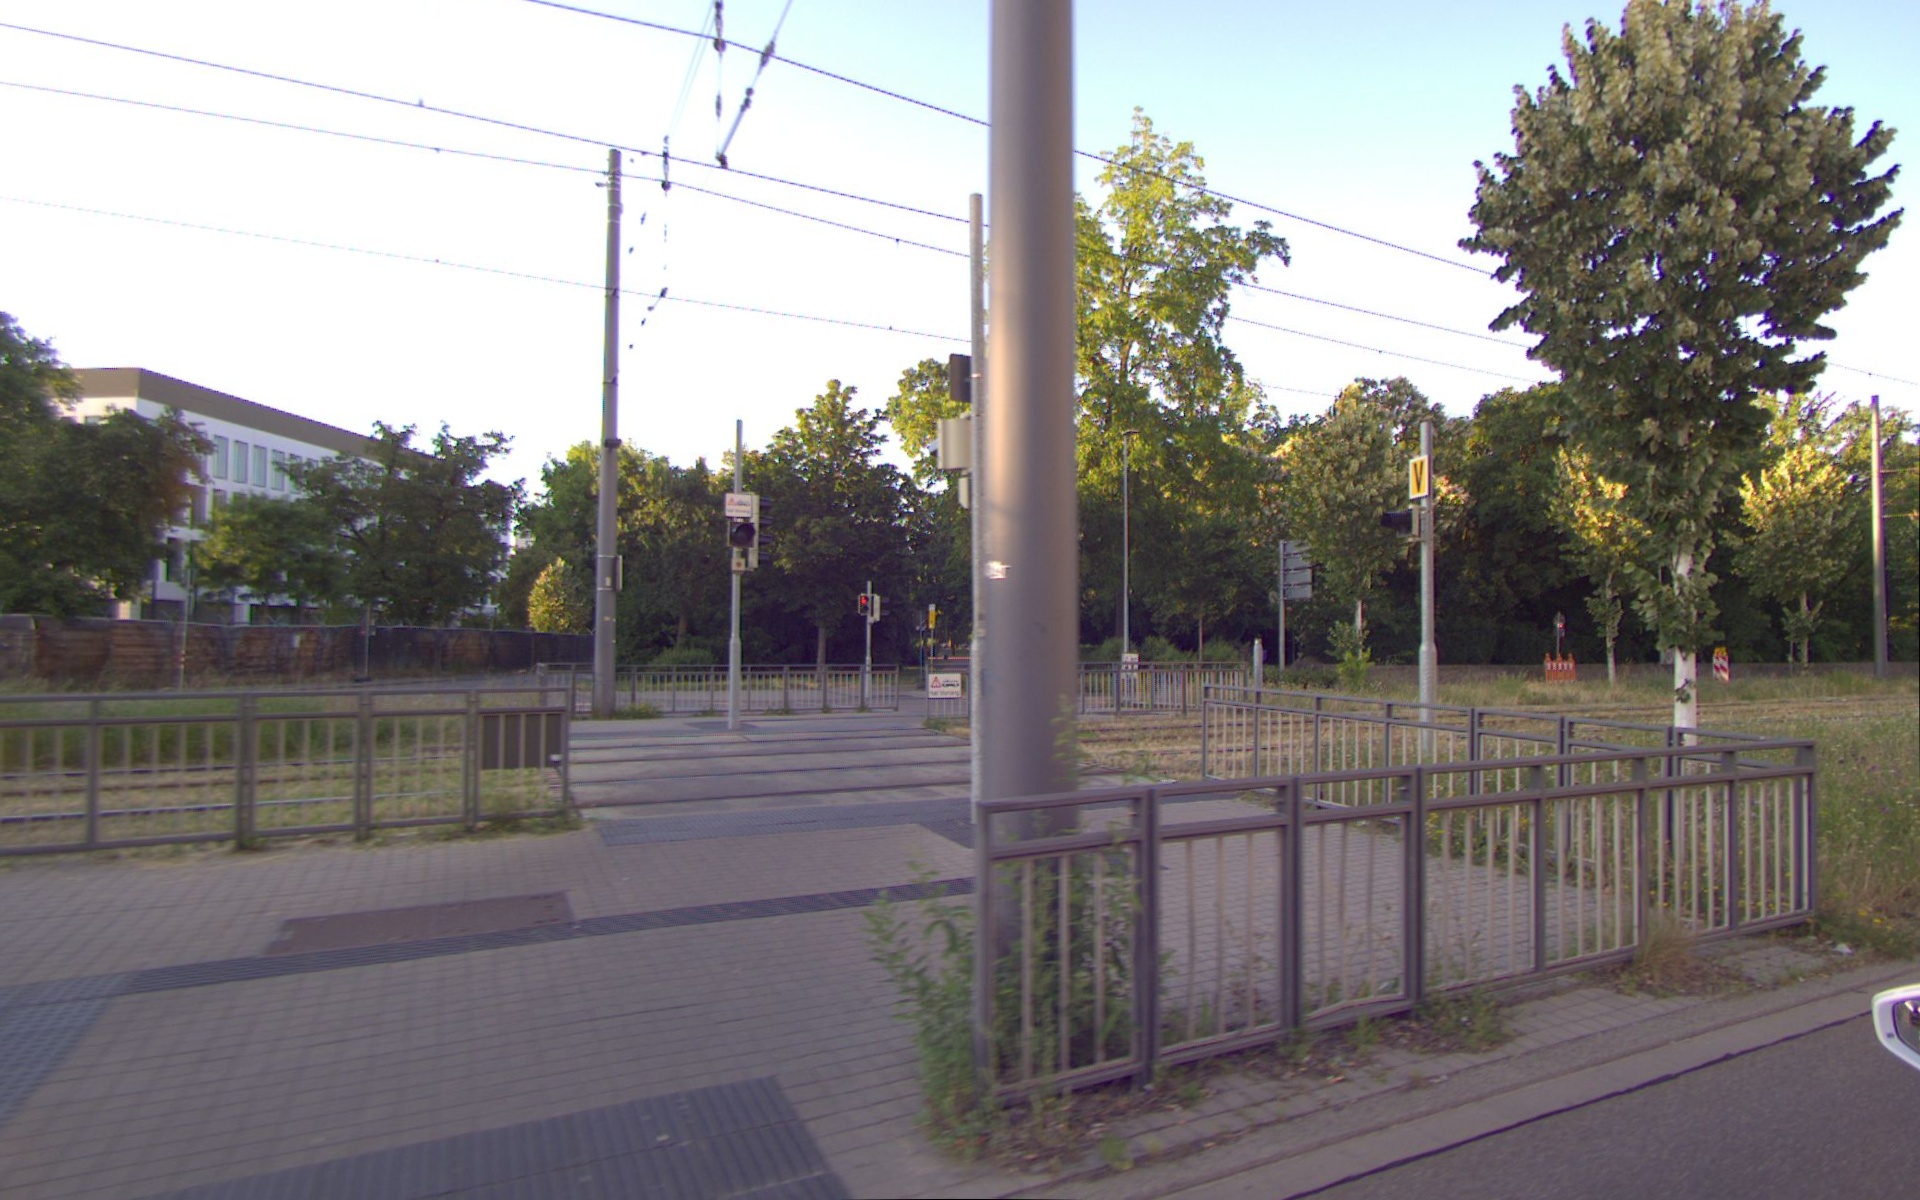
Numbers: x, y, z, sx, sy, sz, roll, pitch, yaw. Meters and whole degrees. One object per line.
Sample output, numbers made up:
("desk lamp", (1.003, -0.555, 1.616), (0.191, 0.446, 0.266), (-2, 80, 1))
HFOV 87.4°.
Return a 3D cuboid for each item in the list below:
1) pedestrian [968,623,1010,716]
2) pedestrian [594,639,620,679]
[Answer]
("pedestrian", (0.545, 1.272, 18.616), (0.664, 1.629, 0.671), (-3, 1, 5))
("pedestrian", (-17.824, 2.964, 50.730), (0.916, 1.911, 1.039), (1, 0, -1))
